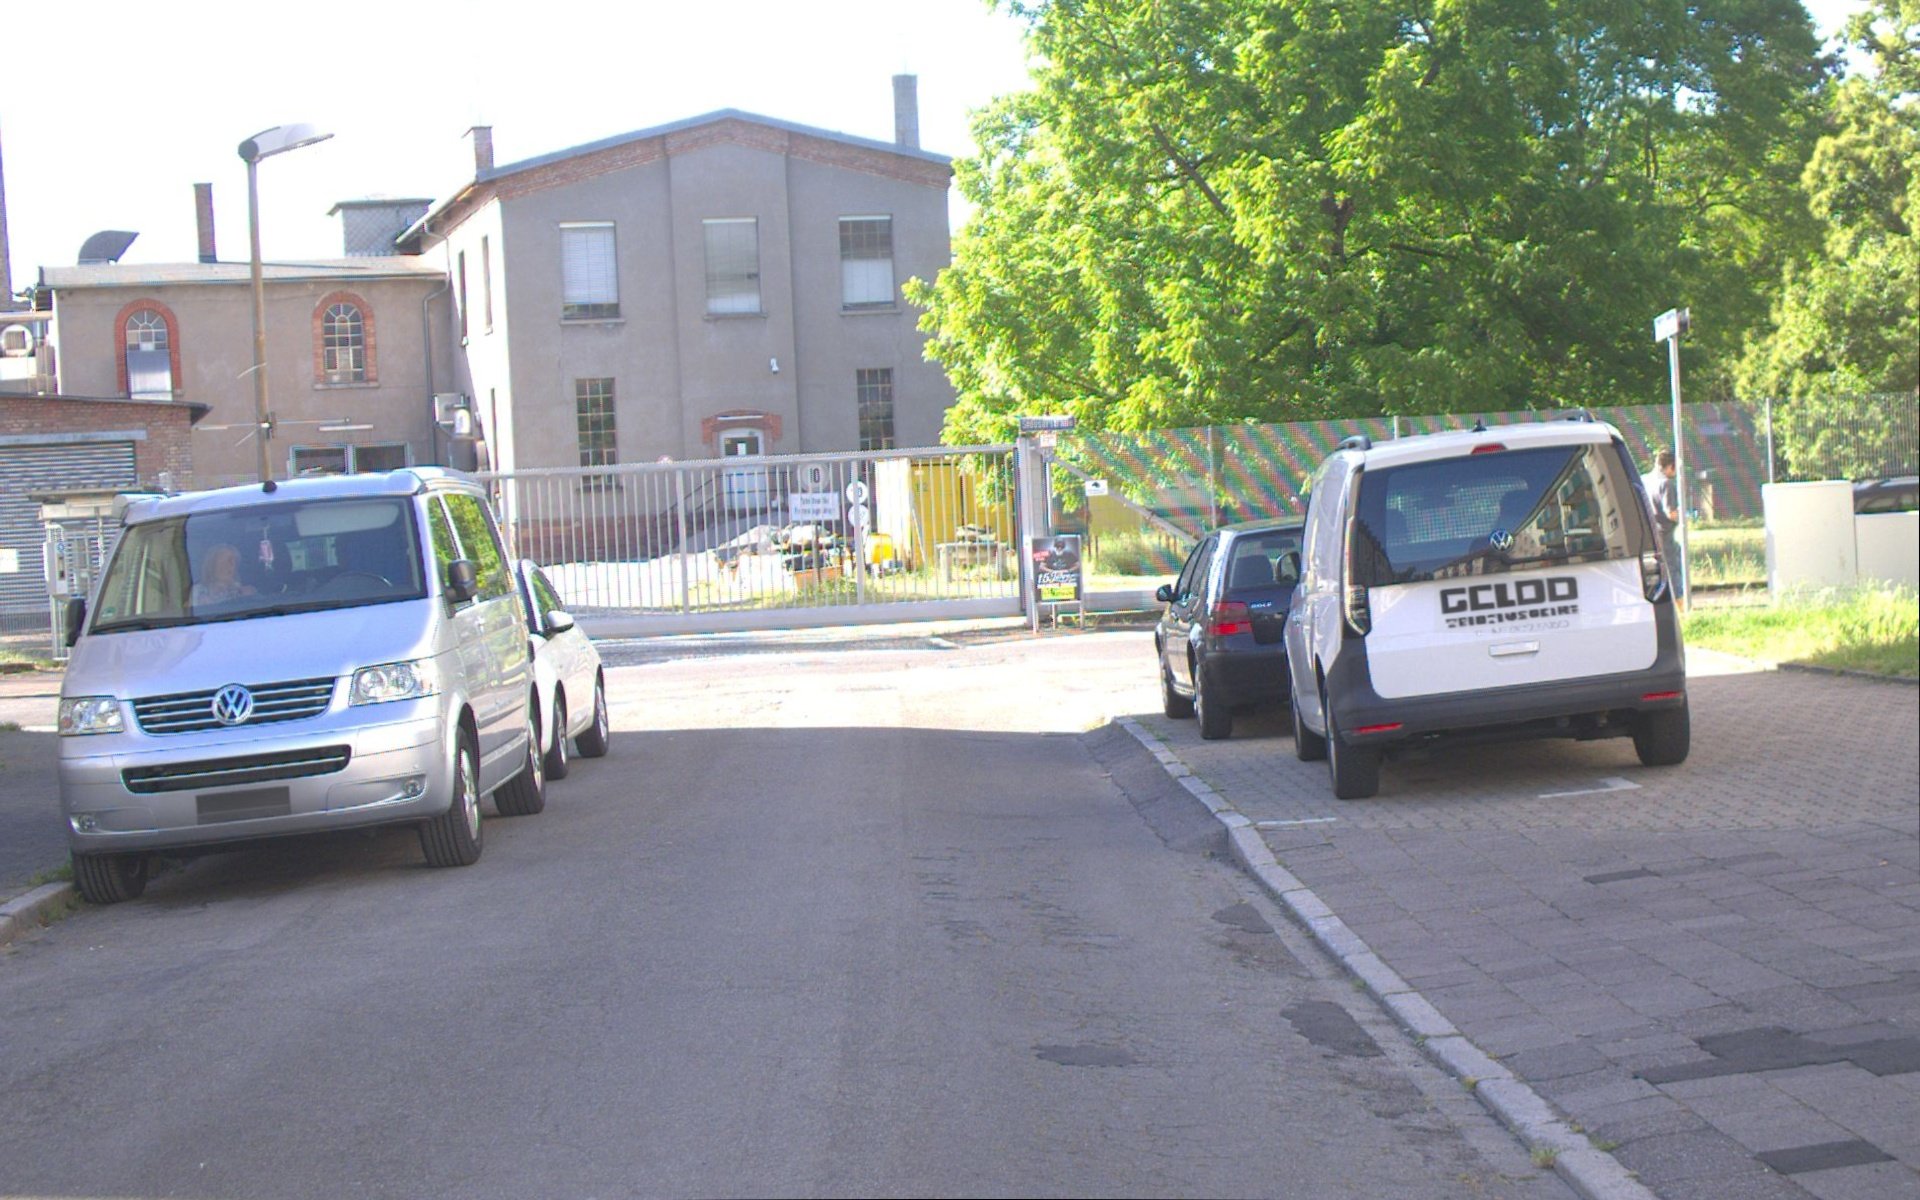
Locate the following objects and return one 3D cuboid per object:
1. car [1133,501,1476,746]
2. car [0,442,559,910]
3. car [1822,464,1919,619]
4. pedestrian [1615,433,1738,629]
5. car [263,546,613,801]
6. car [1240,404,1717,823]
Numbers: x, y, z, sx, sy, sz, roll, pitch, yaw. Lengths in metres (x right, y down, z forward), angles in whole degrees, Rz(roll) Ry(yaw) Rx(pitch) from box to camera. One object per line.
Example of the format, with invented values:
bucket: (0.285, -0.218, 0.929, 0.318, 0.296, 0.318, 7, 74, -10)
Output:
car: (2.320, 0.115, 24.137, 1.797, 1.410, 4.049, -5, 1, -1)
car: (-3.341, 0.291, 17.666, 1.950, 1.926, 4.857, -4, 1, -1)
car: (11.206, -0.673, 35.636, 4.071, 1.543, 1.623, -2, 1, -3)
pedestrian: (6.660, -0.644, 31.966, 0.838, 1.765, 0.647, -3, 2, -22)
car: (-3.447, 0.433, 23.336, 1.687, 1.454, 3.721, -4, 1, 0)
car: (2.656, 0.018, 18.648, 1.798, 1.839, 4.539, -5, 1, 1)
